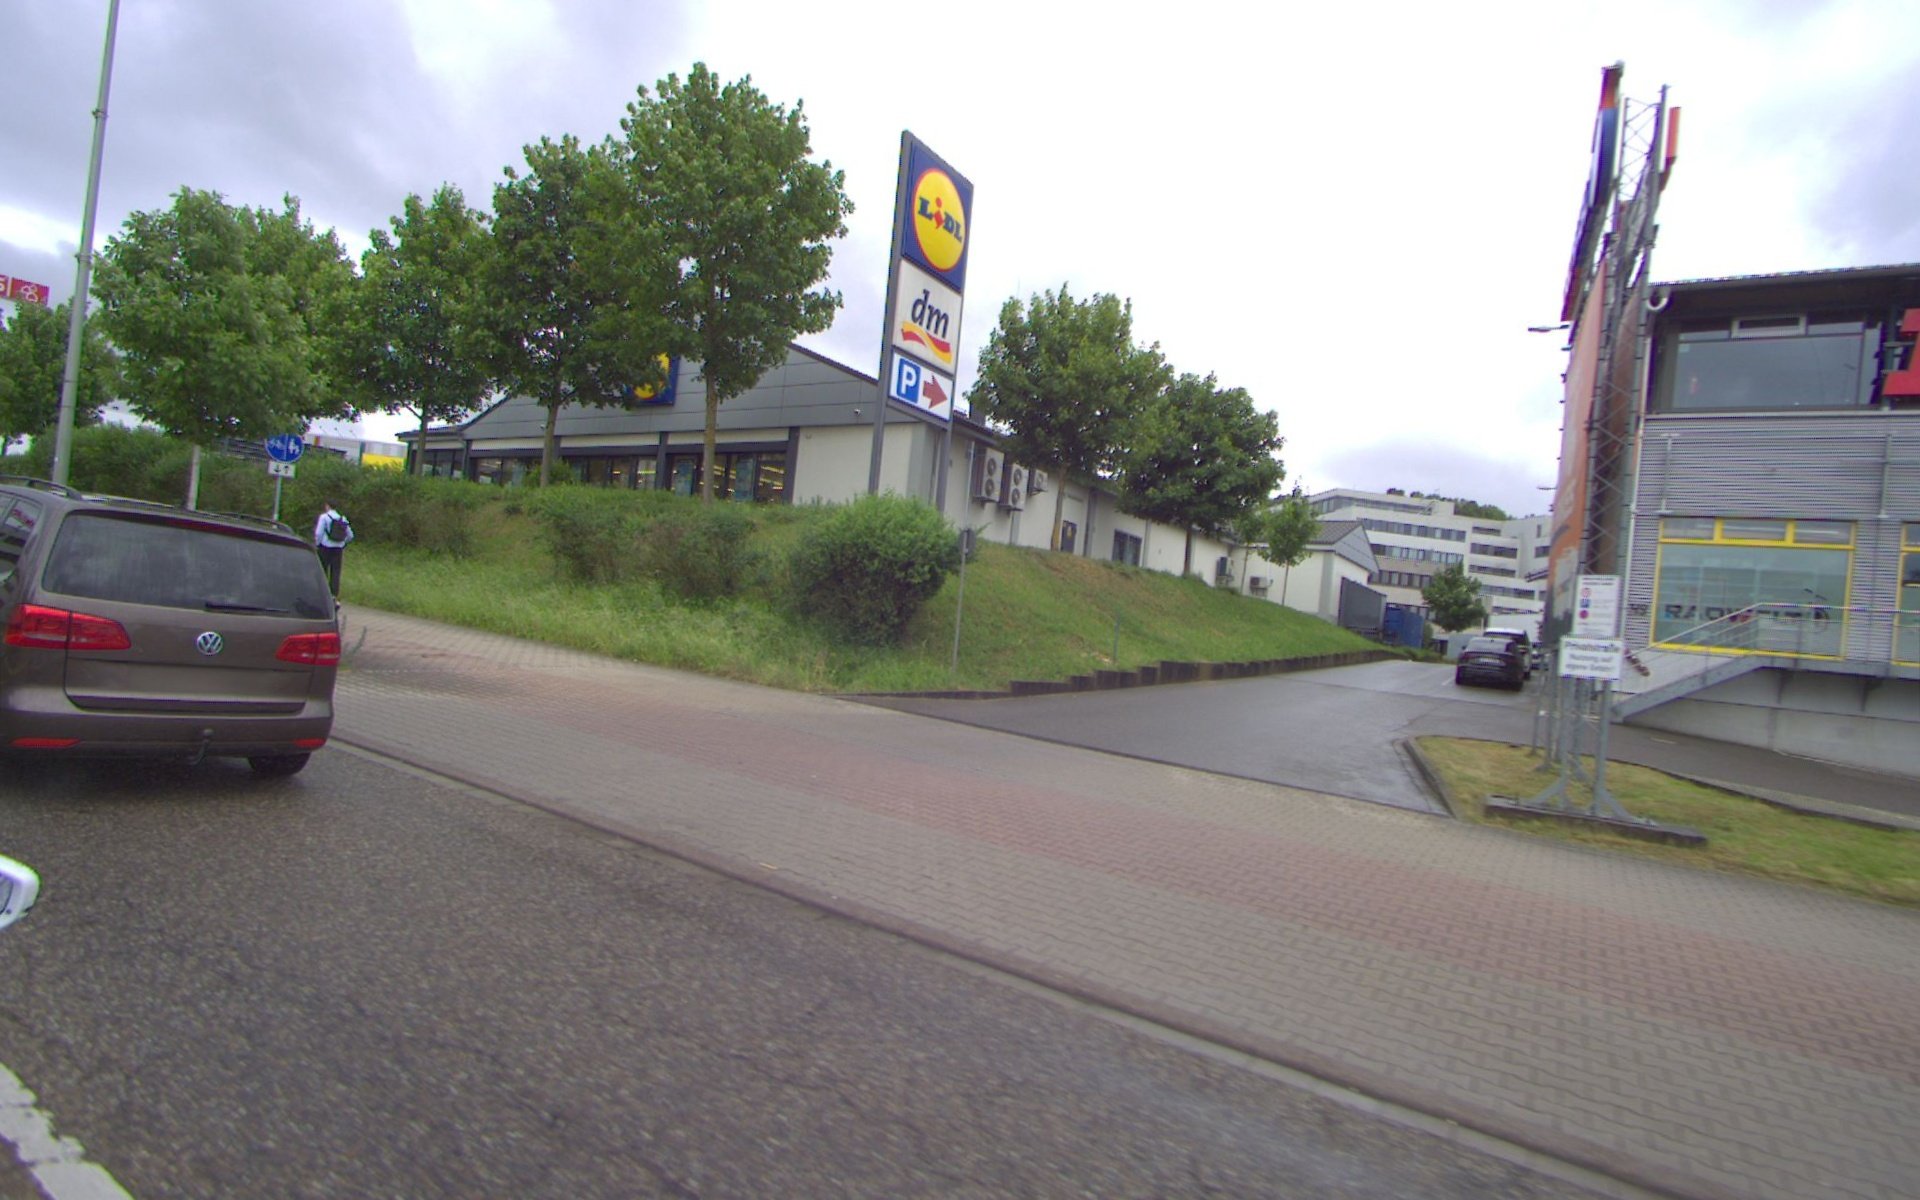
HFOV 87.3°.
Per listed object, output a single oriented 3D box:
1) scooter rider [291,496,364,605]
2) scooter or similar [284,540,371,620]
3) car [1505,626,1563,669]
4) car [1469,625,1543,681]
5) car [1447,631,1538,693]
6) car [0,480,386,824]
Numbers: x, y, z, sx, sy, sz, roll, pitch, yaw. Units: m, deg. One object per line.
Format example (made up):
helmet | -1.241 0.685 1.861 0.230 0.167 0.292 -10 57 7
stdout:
scooter rider | -11.368 -0.877 18.084 0.843 1.844 0.695 7 2 30
scooter or similar | -11.363 -0.359 18.067 1.377 1.280 0.695 7 2 30
car | 25.656 2.064 44.928 1.772 1.676 3.983 6 3 35
car | 19.466 1.825 35.775 1.772 1.676 3.983 6 3 35
car | 16.132 1.810 30.385 1.772 1.531 3.981 6 3 36
car | -5.788 0.127 6.468 4.148 1.599 1.689 7 -2 31
